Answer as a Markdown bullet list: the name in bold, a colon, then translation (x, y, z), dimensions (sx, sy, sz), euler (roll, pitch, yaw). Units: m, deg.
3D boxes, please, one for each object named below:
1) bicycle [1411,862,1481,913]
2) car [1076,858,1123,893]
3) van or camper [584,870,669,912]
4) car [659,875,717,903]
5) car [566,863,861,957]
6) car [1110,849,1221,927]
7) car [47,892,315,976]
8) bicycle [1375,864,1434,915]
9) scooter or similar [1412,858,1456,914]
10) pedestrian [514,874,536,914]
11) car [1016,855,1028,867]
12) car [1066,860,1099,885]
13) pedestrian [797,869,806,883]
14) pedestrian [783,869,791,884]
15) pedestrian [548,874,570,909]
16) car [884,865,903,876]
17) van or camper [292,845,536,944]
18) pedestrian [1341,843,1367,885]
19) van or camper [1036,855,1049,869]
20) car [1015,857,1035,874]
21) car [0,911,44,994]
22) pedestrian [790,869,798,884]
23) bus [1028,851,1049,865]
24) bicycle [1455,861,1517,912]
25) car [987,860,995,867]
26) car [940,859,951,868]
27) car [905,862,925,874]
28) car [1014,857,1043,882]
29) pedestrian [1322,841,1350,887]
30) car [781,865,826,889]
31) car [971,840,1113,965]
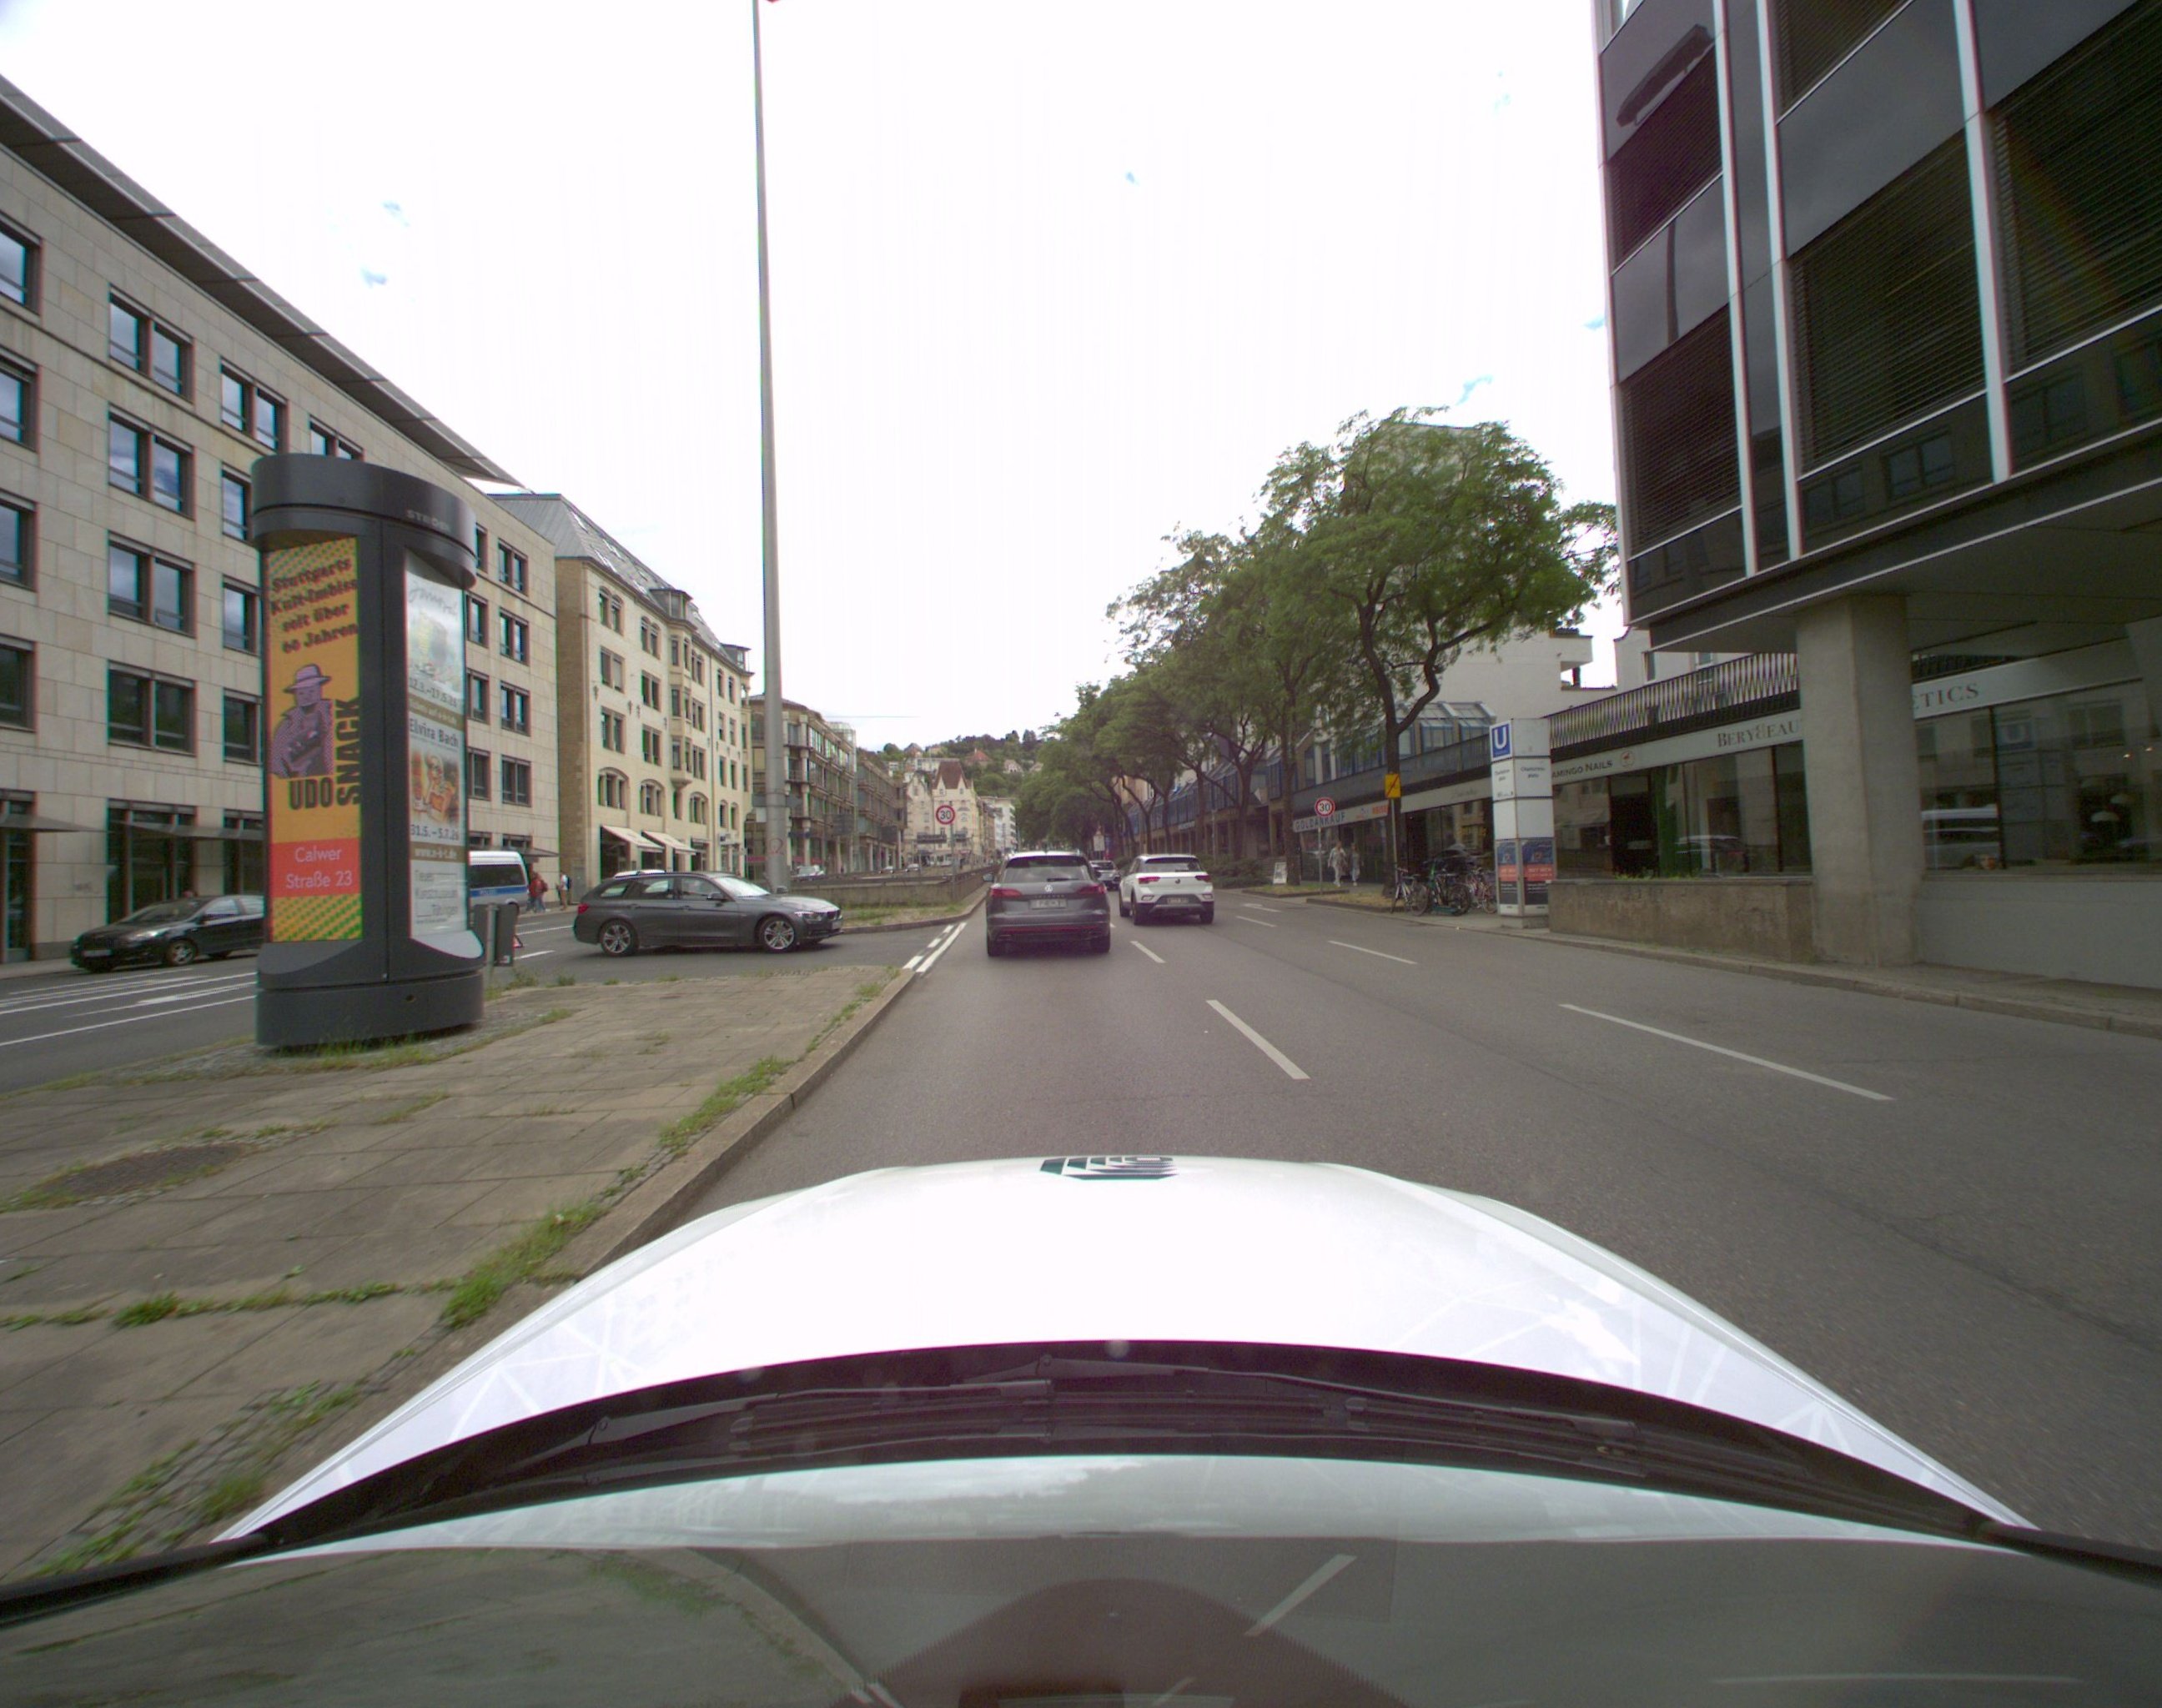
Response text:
- **bicycle**: translation (8.608, 0.774, 19.281), dimensions (0.489, 1.132, 1.880), euler (-2, -1, -10)
- **car**: translation (0.849, 0.991, 39.140), dimensions (1.830, 1.432, 4.141), euler (-1, 1, -5)
- **van or camper**: translation (-21.753, 1.726, 39.167), dimensions (1.865, 1.751, 4.478), euler (-2, 0, -6)
- **car**: translation (-22.129, 1.952, 46.014), dimensions (1.785, 1.406, 3.575), euler (-2, 0, -6)
- **car**: translation (-6.610, 0.977, 14.977), dimensions (4.531, 1.458, 1.883), euler (-2, -1, 3)
- **car**: translation (1.859, 0.772, 19.114), dimensions (1.795, 1.545, 3.927), euler (-2, -2, -6)
- **car**: translation (-20.331, 1.724, 18.709), dimensions (1.766, 1.448, 4.024), euler (-4, 0, -4)
- **bicycle**: translation (7.633, 0.807, 19.279), dimensions (0.489, 1.132, 1.840), euler (-2, -1, -5)
- **scooter or similar**: translation (8.183, 0.739, 18.906), dimensions (0.306, 1.251, 0.991), euler (-2, -1, -17)
- **pedestrian**: translation (-25.487, 1.826, 37.334), dimensions (0.551, 1.753, 0.679), euler (-2, -1, -6)
- **car**: translation (-9.616, 1.118, 132.535), dimensions (1.828, 1.874, 4.865), euler (-3, 0, -3)
- **car**: translation (0.052, 1.173, 52.843), dimensions (1.829, 1.517, 3.761), euler (-2, -1, -5)
- **pedestrian**: translation (-30.590, 2.402, 89.142), dimensions (0.700, 1.544, 0.843), euler (-2, 0, -12)
- **pedestrian**: translation (-32.078, 2.475, 88.784), dimensions (0.700, 1.544, 0.843), euler (-2, 0, -12)
- **pedestrian**: translation (-23.889, 1.715, 37.289), dimensions (0.551, 1.577, 0.679), euler (-2, -1, -6)
- **car**: translation (-26.079, 2.302, 113.367), dimensions (1.991, 1.464, 4.875), euler (-2, 0, -6)
- **van or camper**: translation (-21.245, 1.174, 26.533), dimensions (2.996, 2.726, 6.236), euler (-2, 0, -4)
- **pedestrian**: translation (10.778, 0.390, 32.151), dimensions (0.595, 1.629, 0.755), euler (-3, 0, -10)
- **van or camper**: translation (-8.917, 1.880, 187.778), dimensions (2.624, 3.178, 5.790), euler (-2, 0, -6)
- **car**: translation (-5.852, 1.180, 84.491), dimensions (1.830, 1.567, 3.758), euler (-3, 0, -6)
- **car**: translation (-19.649, 1.743, 12.384), dimensions (1.989, 1.395, 4.567), euler (-2, 0, -3)
- **pedestrian**: translation (-31.332, 2.436, 88.956), dimensions (0.700, 1.544, 0.843), euler (-2, 0, -12)
- **bus**: translation (-11.853, 1.111, 227.272), dimensions (3.833, 3.532, 17.260), euler (-2, 0, 3)
- **bicycle**: translation (9.505, 0.733, 19.186), dimensions (0.488, 1.132, 1.686), euler (-2, -1, -4)
- **car**: translation (-23.323, 2.442, 211.595), dimensions (1.990, 1.768, 4.273), euler (-2, 0, -4)
- **car**: translation (-30.363, 2.103, 182.899), dimensions (1.990, 1.768, 4.273), euler (-2, 0, -4)
- **car**: translation (-23.448, 1.905, 115.302), dimensions (1.988, 1.585, 4.883), euler (-2, 0, -2)
- **car**: translation (-3.526, 1.036, 54.250), dimensions (1.829, 1.517, 3.760), euler (-3, 0, -5)
- **pedestrian**: translation (9.973, 0.374, 31.912), dimensions (0.595, 1.754, 0.937), euler (-3, 0, -10)
- **car**: translation (-19.675, 1.630, 57.951), dimensions (1.915, 1.527, 4.533), euler (-2, 0, -5)
- **car**: translation (-0.633, 0.710, 13.952), dimensions (1.965, 1.695, 4.221), euler (-3, 0, -2)
